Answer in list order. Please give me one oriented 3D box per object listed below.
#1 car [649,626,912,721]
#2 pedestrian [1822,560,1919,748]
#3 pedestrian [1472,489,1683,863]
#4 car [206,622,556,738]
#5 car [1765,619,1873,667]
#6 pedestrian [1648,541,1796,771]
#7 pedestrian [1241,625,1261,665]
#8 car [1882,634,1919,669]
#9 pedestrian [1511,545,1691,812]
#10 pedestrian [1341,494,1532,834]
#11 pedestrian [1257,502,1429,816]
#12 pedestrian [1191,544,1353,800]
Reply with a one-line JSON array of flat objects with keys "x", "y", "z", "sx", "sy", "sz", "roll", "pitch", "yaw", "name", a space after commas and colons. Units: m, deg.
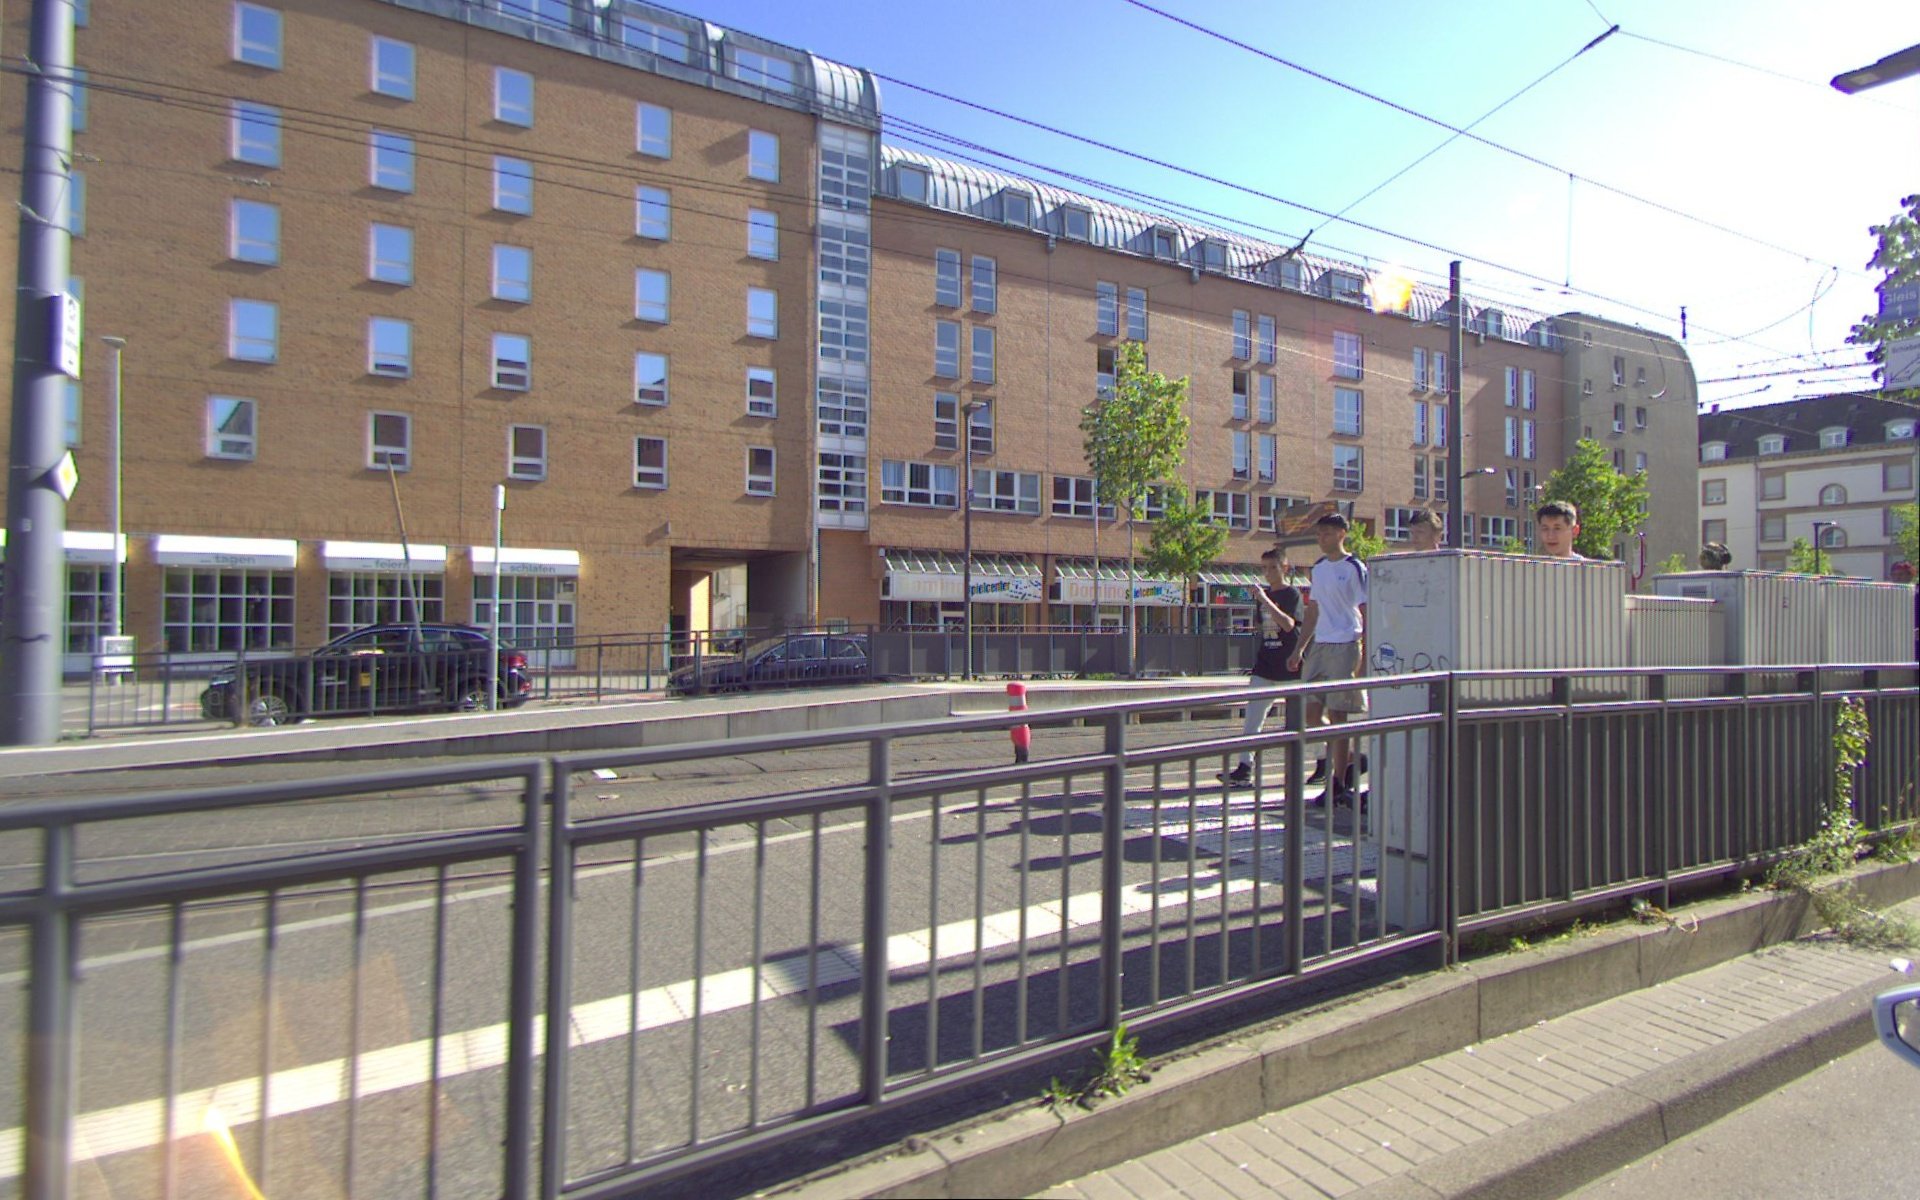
[{"x": -3.169, "y": 1.241, "z": 17.830, "sx": 4.235, "sy": 1.518, "sz": 1.925, "roll": 1, "pitch": -2, "yaw": -28, "name": "car"}, {"x": 9.672, "y": 0.544, "z": 10.309, "sx": 1.011, "sy": 1.835, "sz": 0.986, "roll": 1, "pitch": -2, "yaw": -32, "name": "pedestrian"}, {"x": 3.211, "y": 0.372, "z": 5.237, "sx": 0.811, "sy": 1.766, "sz": 0.643, "roll": 1, "pitch": -2, "yaw": -32, "name": "pedestrian"}, {"x": -8.390, "y": 1.116, "z": 14.962, "sx": 4.235, "sy": 1.518, "sz": 1.925, "roll": 1, "pitch": -2, "yaw": -28, "name": "car"}, {"x": 45.555, "y": 2.256, "z": 53.263, "sx": 5.560, "sy": 2.401, "sz": 1.991, "roll": 1, "pitch": -1, "yaw": -21, "name": "car"}, {"x": 6.475, "y": 0.463, "z": 8.549, "sx": 0.831, "sy": 1.835, "sz": 0.750, "roll": 1, "pitch": -2, "yaw": -32, "name": "pedestrian"}, {"x": 13.450, "y": 2.078, "z": 46.411, "sx": 0.637, "sy": 1.864, "sz": 0.618, "roll": 1, "pitch": -2, "yaw": -30, "name": "pedestrian"}, {"x": 44.051, "y": 2.368, "z": 45.770, "sx": 3.952, "sy": 1.483, "sz": 1.870, "roll": 2, "pitch": -1, "yaw": -30, "name": "car"}, {"x": 4.264, "y": 0.500, "z": 6.701, "sx": 0.767, "sy": 1.640, "sz": 0.750, "roll": 1, "pitch": -2, "yaw": -32, "name": "pedestrian"}, {"x": 2.706, "y": 0.346, "z": 5.719, "sx": 0.811, "sy": 1.766, "sz": 0.643, "roll": 1, "pitch": -2, "yaw": -32, "name": "pedestrian"}, {"x": 2.381, "y": 0.354, "z": 6.263, "sx": 0.811, "sy": 1.797, "sz": 0.643, "roll": 1, "pitch": -2, "yaw": -32, "name": "pedestrian"}, {"x": 2.092, "y": 0.463, "z": 6.734, "sx": 0.899, "sy": 1.590, "sz": 0.605, "roll": 1, "pitch": -2, "yaw": -32, "name": "pedestrian"}]
